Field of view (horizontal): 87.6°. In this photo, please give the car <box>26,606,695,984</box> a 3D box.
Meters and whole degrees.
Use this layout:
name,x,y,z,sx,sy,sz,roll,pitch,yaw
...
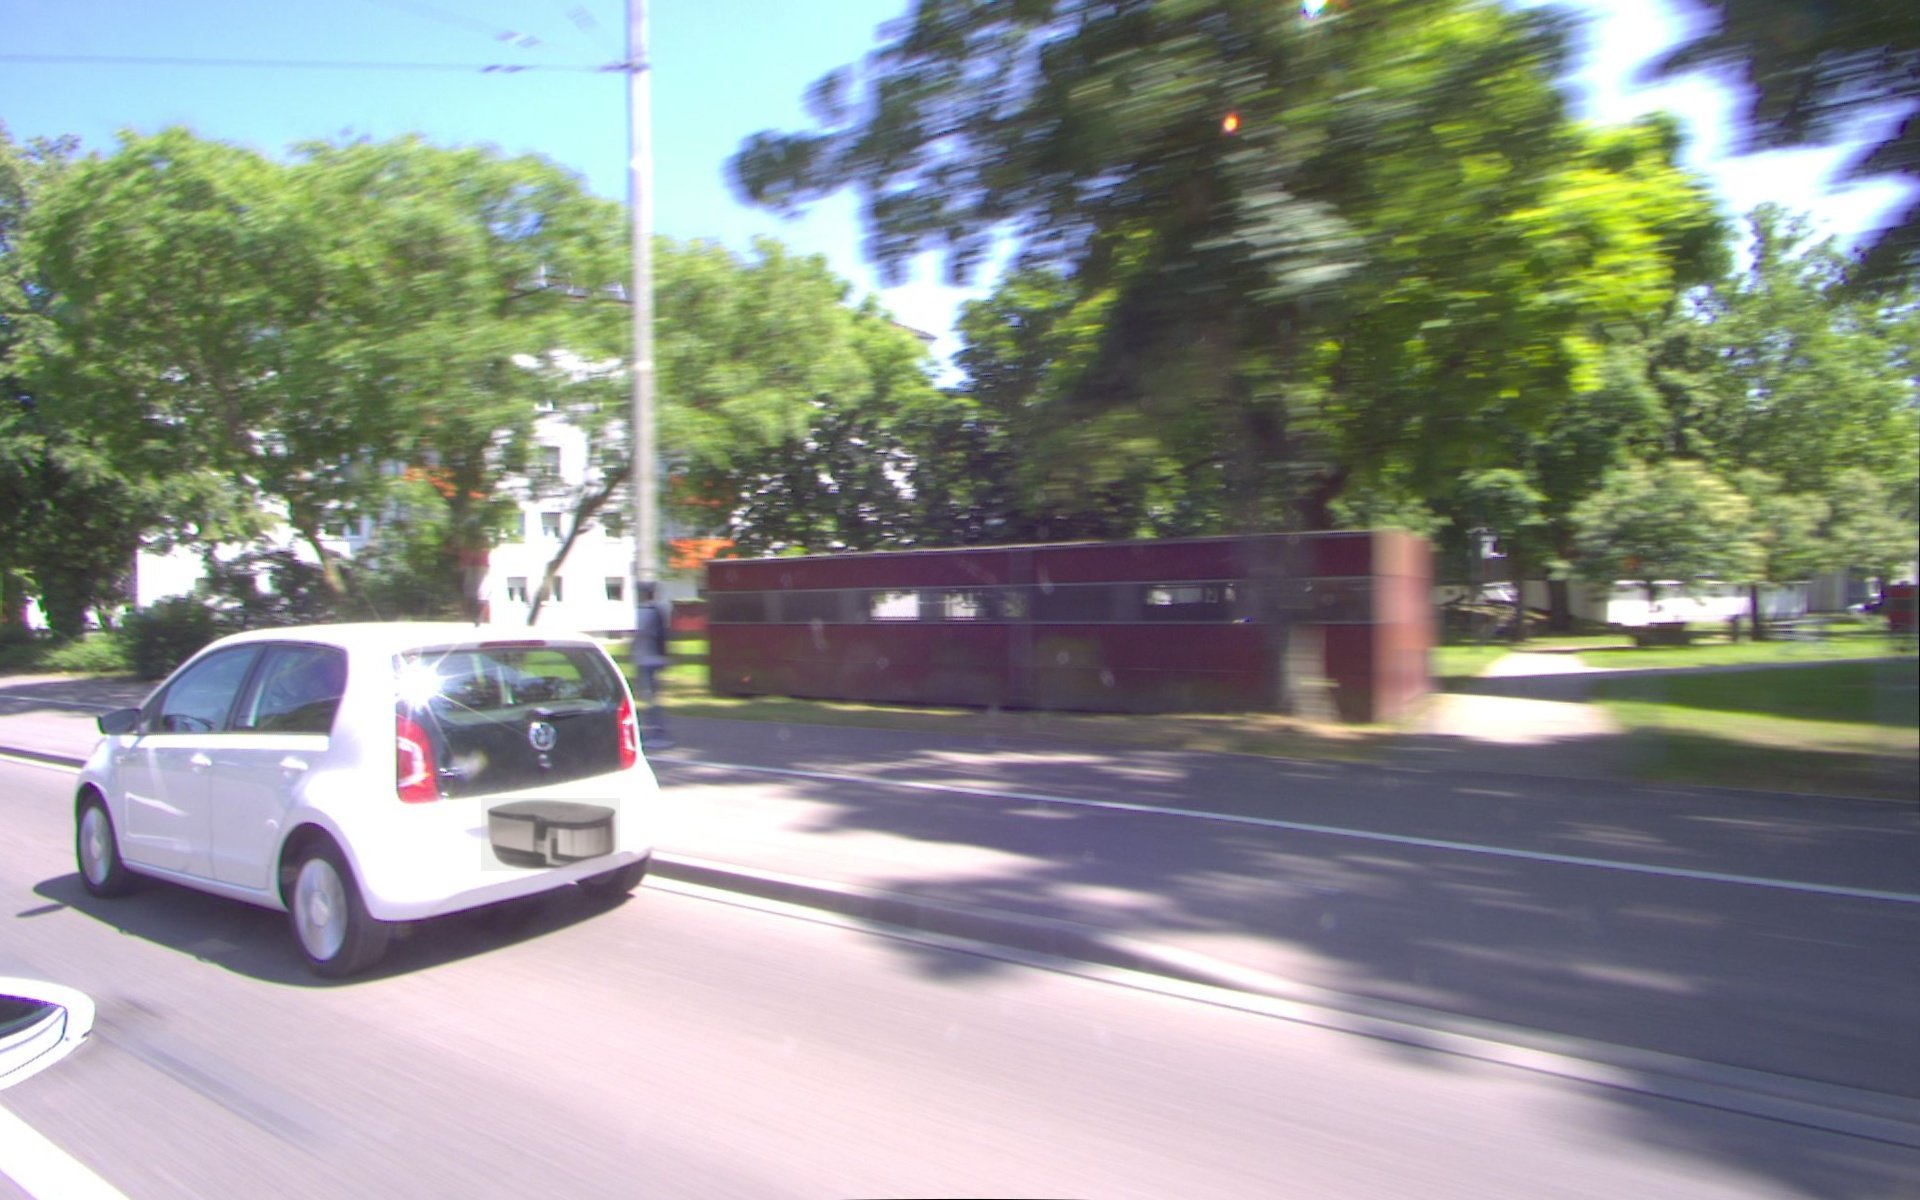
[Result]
name,x,y,z,sx,sy,sz,roll,pitch,yaw
car,-3.448,0.804,5.602,3.798,1.468,1.656,-1,-1,31

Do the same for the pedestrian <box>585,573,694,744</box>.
name,x,y,z,sx,sy,sz,roll,pitch,yaw
pedestrian,-3.269,0.579,10.219,0.844,1.665,0.667,-1,0,31
